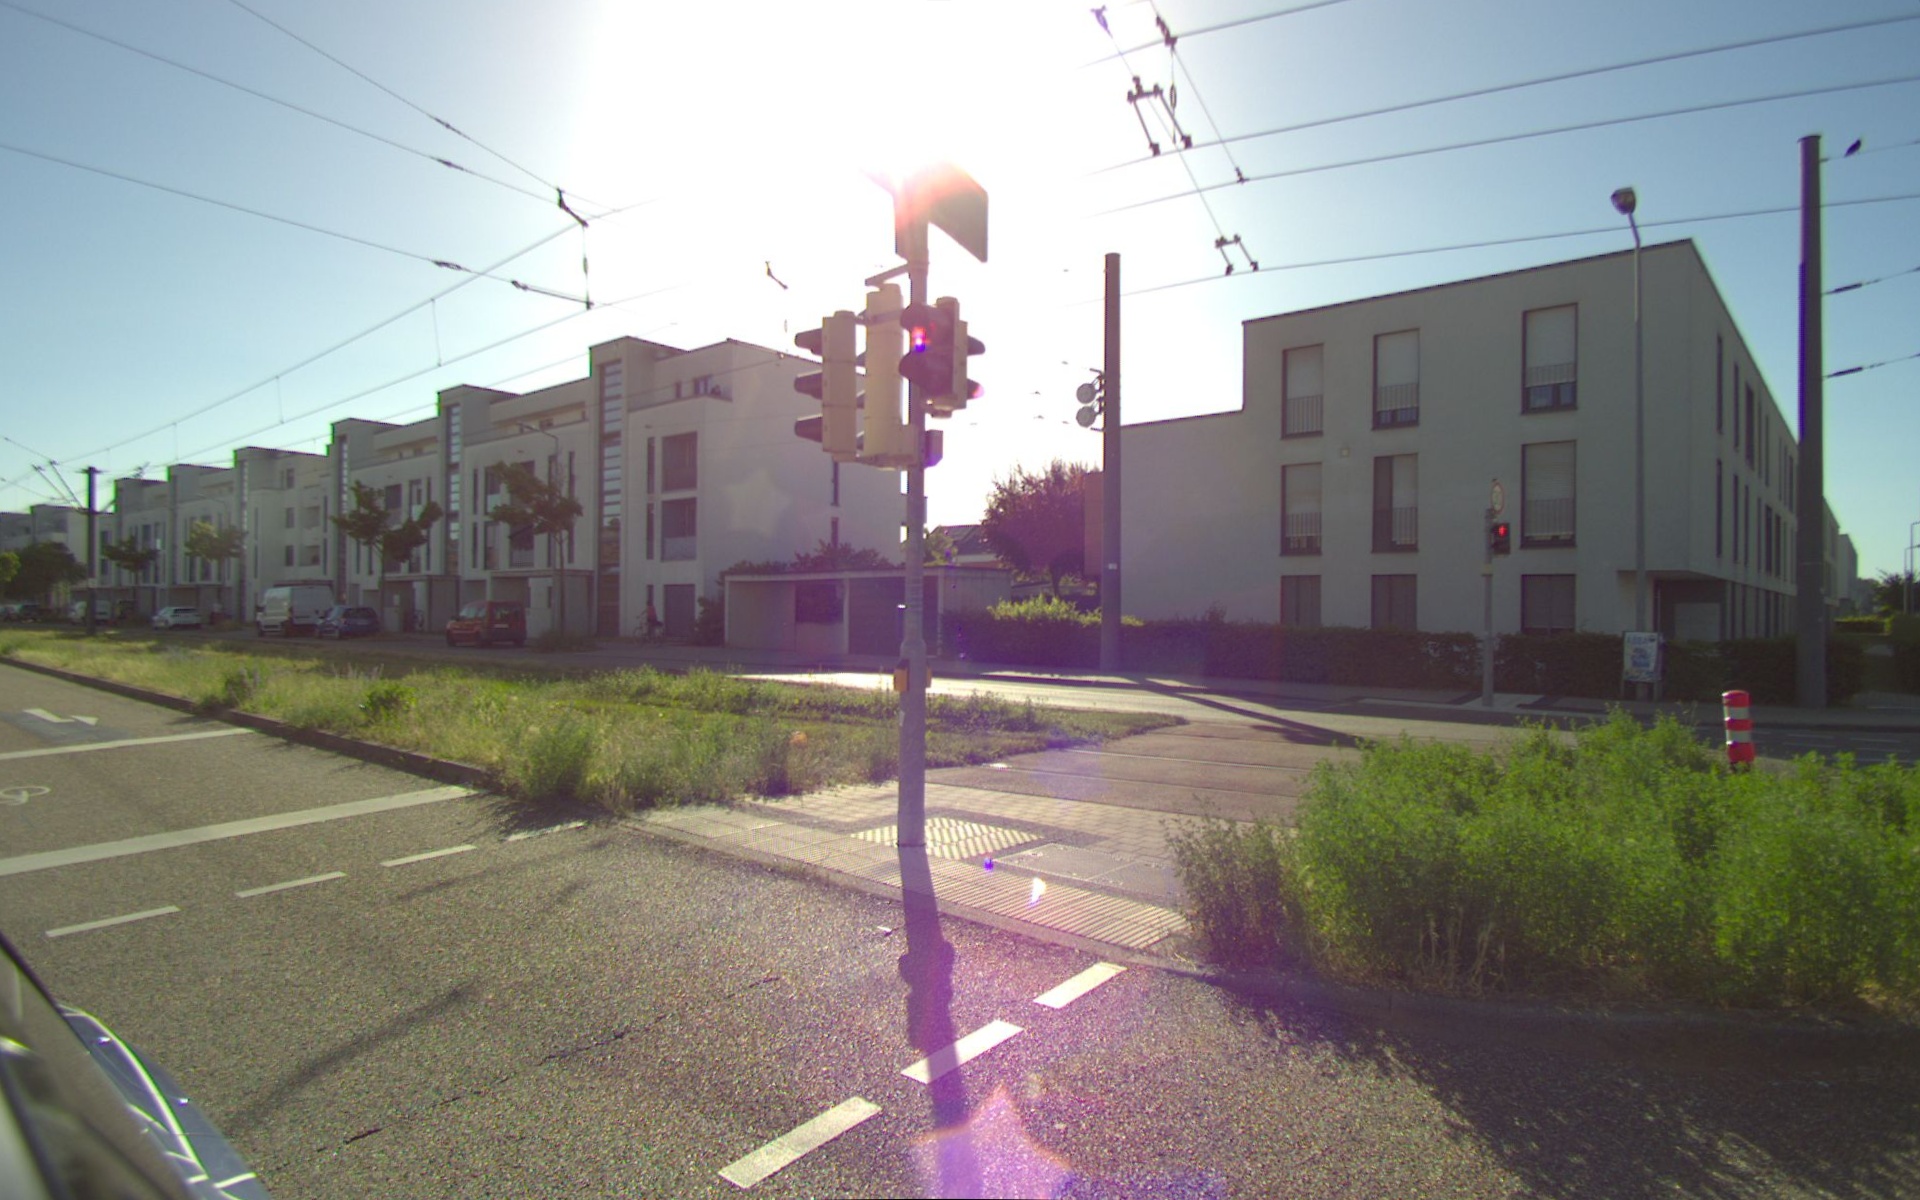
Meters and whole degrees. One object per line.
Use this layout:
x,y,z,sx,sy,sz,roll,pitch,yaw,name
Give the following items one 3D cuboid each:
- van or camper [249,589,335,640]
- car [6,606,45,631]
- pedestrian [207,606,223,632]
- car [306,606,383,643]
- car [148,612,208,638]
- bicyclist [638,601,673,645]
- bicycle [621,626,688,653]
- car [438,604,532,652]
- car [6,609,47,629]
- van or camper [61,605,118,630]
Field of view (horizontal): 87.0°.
-33.772,0.730,51.123,5.255,2.483,2.170,0,-1,40,van or camper
-81.623,1.588,88.367,3.993,2.029,1.766,0,1,37,car
-48.904,1.240,66.442,0.611,1.655,0.612,0,1,33,pedestrian
-28.484,1.113,46.825,3.833,1.625,1.910,0,-1,40,car
-49.543,1.565,64.108,4.115,1.598,2.022,0,-1,38,car
-10.695,0.803,35.528,0.744,1.502,0.881,0,-1,34,bicyclist
-10.742,1.370,35.548,2.478,0.899,0.892,0,-1,35,bicycle
-17.911,1.034,38.095,3.906,1.736,1.770,0,-2,41,car
-76.010,1.540,82.384,3.491,1.449,1.845,1,2,36,car
-66.564,1.320,77.333,6.279,1.862,2.245,0,0,39,van or camper
